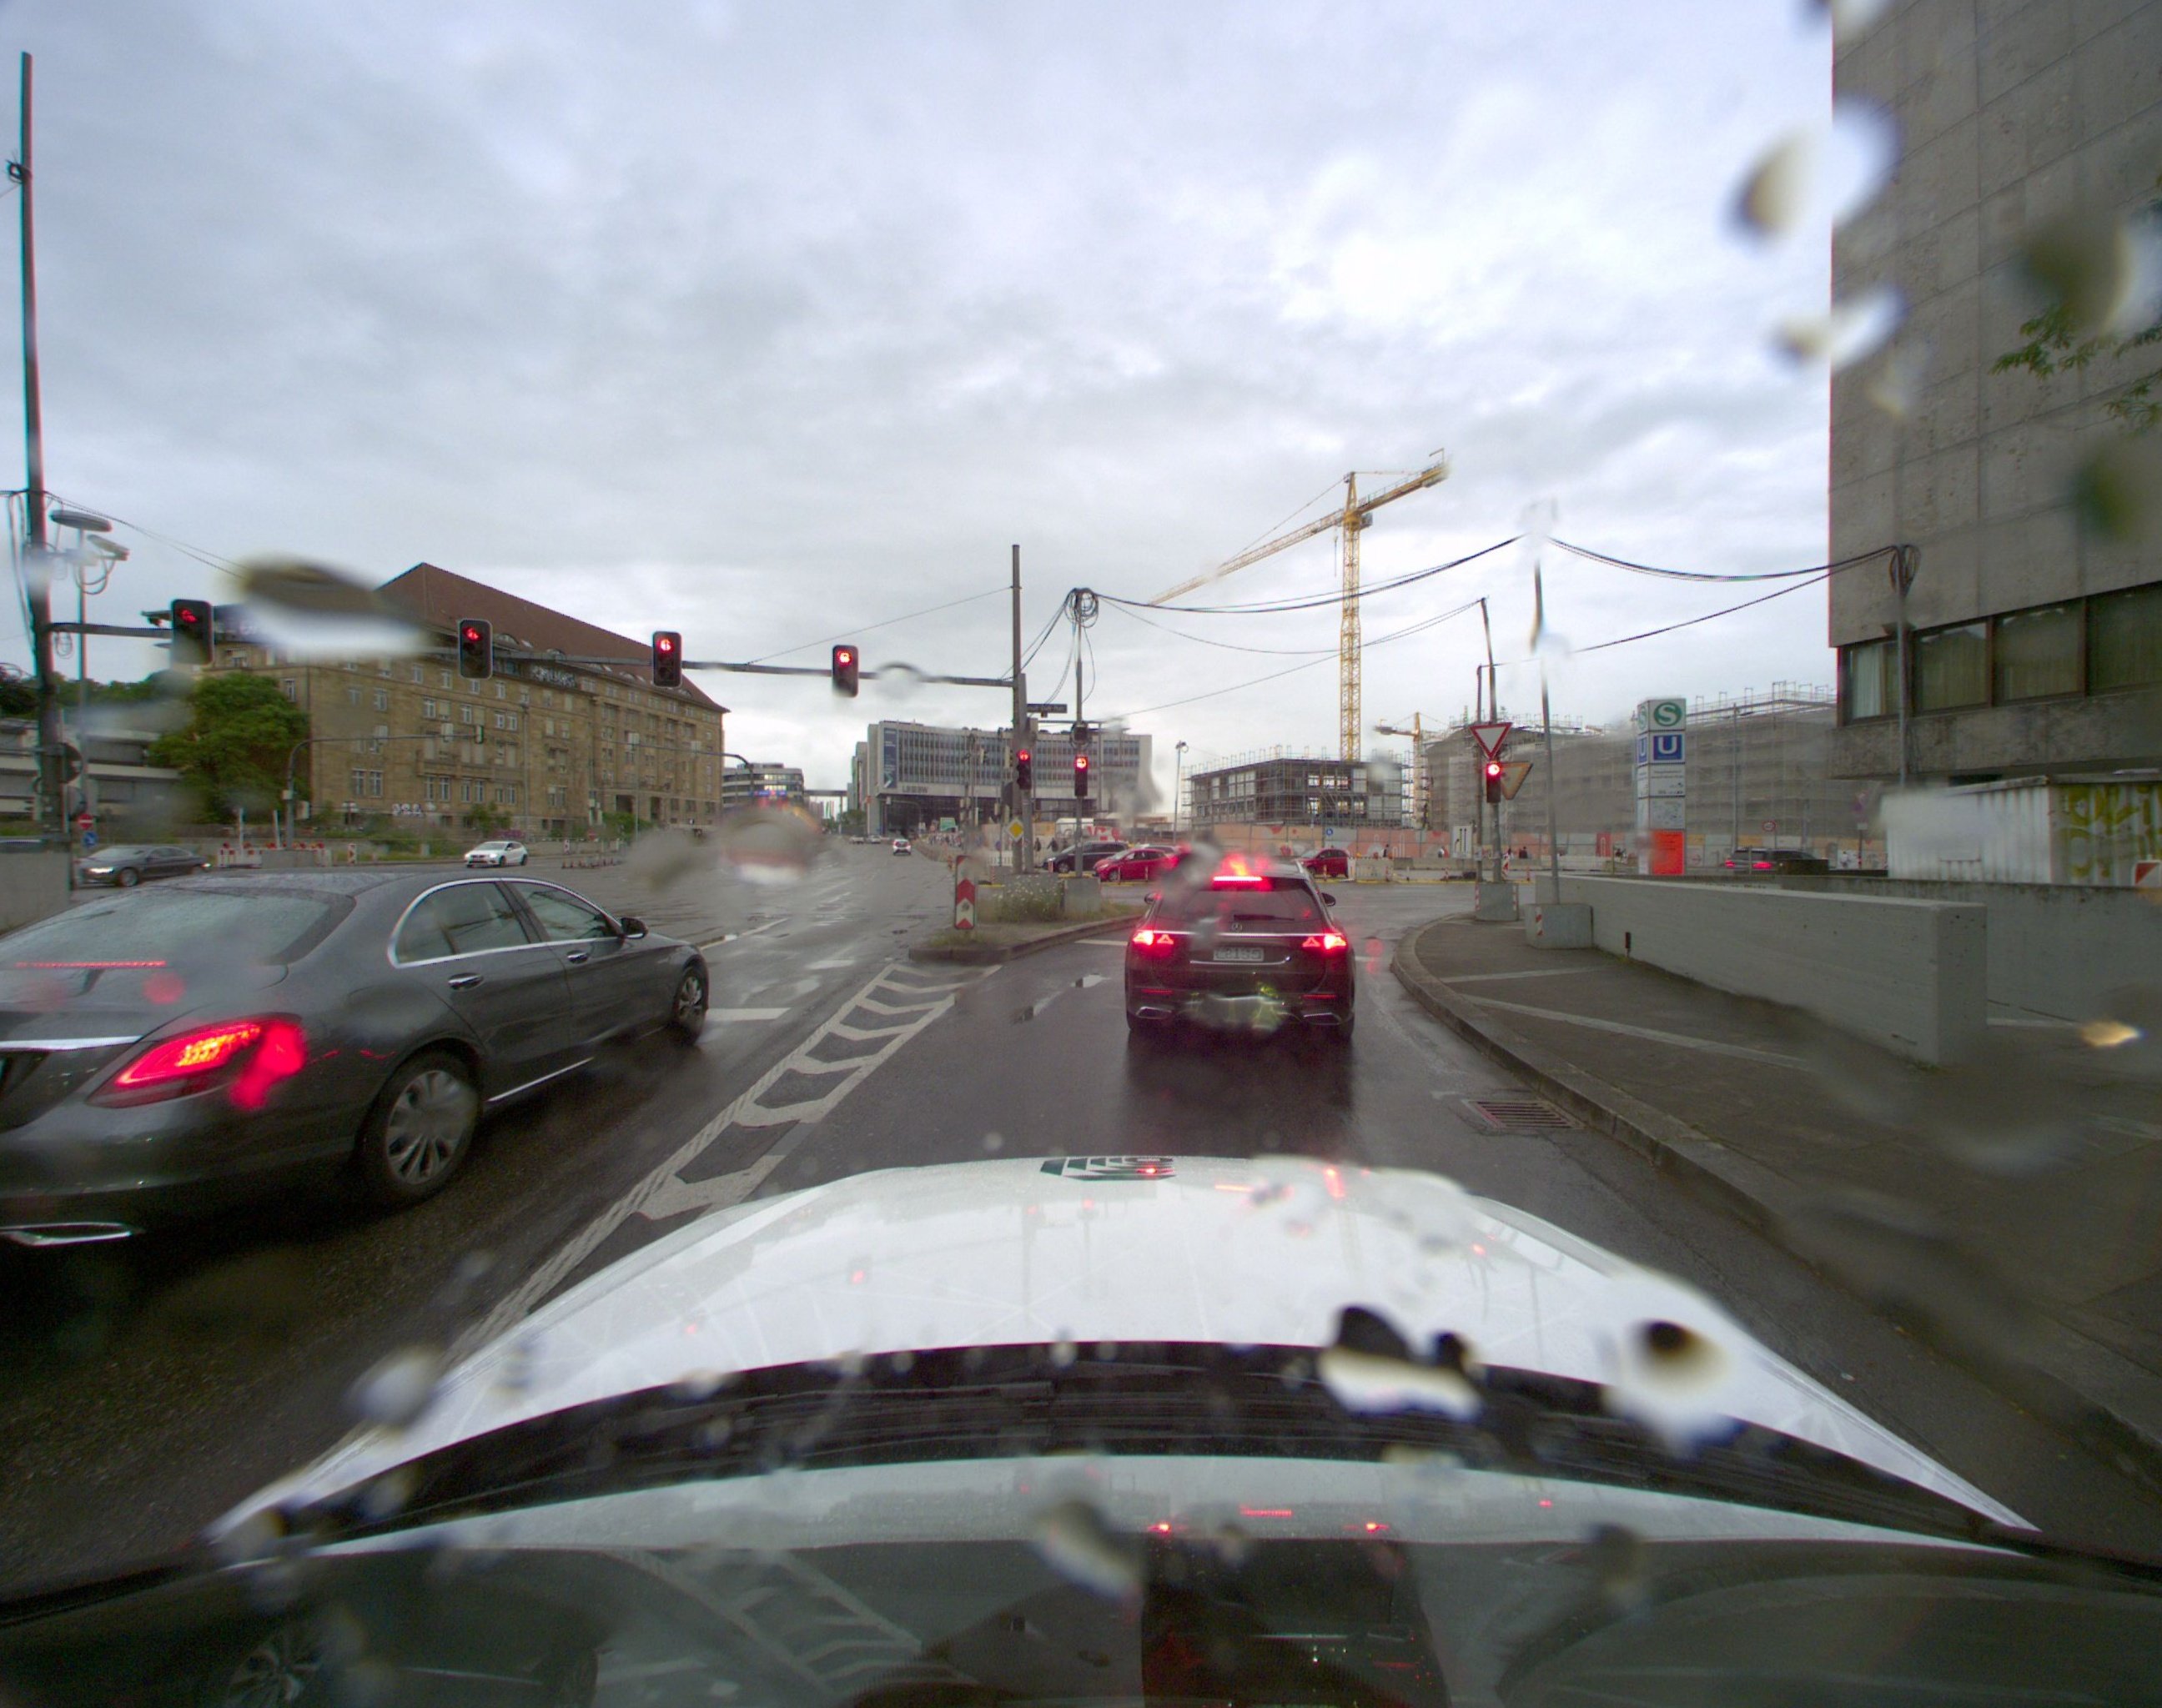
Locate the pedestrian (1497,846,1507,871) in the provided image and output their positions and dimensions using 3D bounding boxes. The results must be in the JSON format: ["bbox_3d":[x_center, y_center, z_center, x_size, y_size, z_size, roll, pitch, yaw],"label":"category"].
[{"bbox_3d":[32.266,0.348,62.432,0.574,1.898,0.361,1,-1,-10],"label":"pedestrian"}]

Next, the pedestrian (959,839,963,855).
[{"bbox_3d":[-14.219,-0.825,96.625,0.362,1.898,0.573,1,-1,-16],"label":"pedestrian"}]

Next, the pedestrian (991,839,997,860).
[{"bbox_3d":[-7.768,-0.394,72.579,0.362,1.898,0.572,1,-1,-20],"label":"pedestrian"}]

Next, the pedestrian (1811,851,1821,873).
[{"bbox_3d":[63.089,0.692,69.895,0.574,1.898,0.361,1,-1,-10],"label":"pedestrian"}]

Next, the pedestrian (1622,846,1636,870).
[{"bbox_3d":[43.759,0.284,65.011,0.798,1.898,0.563,1,-1,-13],"label":"pedestrian"}]

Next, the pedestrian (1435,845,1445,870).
[{"bbox_3d":[27.555,0.293,62.454,0.574,1.898,0.361,1,-1,-10],"label":"pedestrian"}]

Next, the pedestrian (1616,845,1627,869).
[{"bbox_3d":[42.206,0.249,63.592,0.574,1.898,0.361,1,-1,-10],"label":"pedestrian"}]

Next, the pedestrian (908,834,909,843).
[{"bbox_3d":[-38.104,-3.370,179.939,0.361,1.898,0.574,1,-1,-13],"label":"pedestrian"}]

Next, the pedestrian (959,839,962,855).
[{"bbox_3d":[-14.549,-0.804,98.352,0.362,1.898,0.573,1,-1,-16],"label":"pedestrian"}]

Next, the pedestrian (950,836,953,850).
[{"bbox_3d":[-17.810,-1.537,111.889,0.361,1.898,0.574,1,-1,-12],"label":"pedestrian"}]

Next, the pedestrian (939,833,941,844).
[{"bbox_3d":[-24.035,-2.642,138.941,0.362,1.898,0.573,1,-1,-16],"label":"pedestrian"}]

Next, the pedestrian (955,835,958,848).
[{"bbox_3d":[-17.606,-1.783,115.208,0.362,1.898,0.573,1,-1,-16],"label":"pedestrian"}]

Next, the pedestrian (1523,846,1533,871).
[{"bbox_3d":[33.543,0.346,61.137,0.574,1.898,0.361,1,-1,-10],"label":"pedestrian"}]

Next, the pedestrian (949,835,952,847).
[{"bbox_3d":[-20.224,-2.007,126.638,0.362,1.898,0.573,1,-1,-16],"label":"pedestrian"}]

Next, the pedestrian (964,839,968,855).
[{"bbox_3d":[-13.658,-0.816,96.744,0.362,1.898,0.573,1,-1,-16],"label":"pedestrian"}]

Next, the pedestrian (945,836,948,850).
[{"bbox_3d":[-18.726,-1.527,113.372,0.362,1.898,0.573,1,-1,-16],"label":"pedestrian"}]

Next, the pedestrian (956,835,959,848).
[{"bbox_3d":[-18.324,-1.896,120.573,0.362,1.898,0.573,1,-1,-16],"label":"pedestrian"}]

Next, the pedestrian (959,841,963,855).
[{"bbox_3d":[-16.311,-0.790,110.528,0.362,1.898,0.573,1,-1,-16],"label":"pedestrian"}]

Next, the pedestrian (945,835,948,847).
[{"bbox_3d":[-20.869,-2.053,126.418,0.362,1.898,0.573,1,-1,-16],"label":"pedestrian"}]

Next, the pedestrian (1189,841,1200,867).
[{"bbox_3d":[8.369,-0.023,60.012,0.656,1.901,0.629,1,-1,-12],"label":"pedestrian"}]

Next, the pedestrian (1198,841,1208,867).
[{"bbox_3d":[8.895,0.000,59.396,0.574,1.898,0.361,1,-1,-10],"label":"pedestrian"}]

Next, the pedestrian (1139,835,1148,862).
[{"bbox_3d":[4.365,-0.363,56.642,0.573,1.898,0.362,1,-1,-1],"label":"pedestrian"}]

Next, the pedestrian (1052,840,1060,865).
[{"bbox_3d":[-1.946,-0.097,63.289,0.570,1.898,0.364,0,-1,15],"label":"pedestrian"}]

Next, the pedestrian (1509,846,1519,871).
[{"bbox_3d":[32.720,0.341,61.541,0.574,1.898,0.361,1,-1,-10],"label":"pedestrian"}]

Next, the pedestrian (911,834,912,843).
[{"bbox_3d":[-37.499,-3.358,180.216,0.361,1.898,0.574,1,-1,-13],"label":"pedestrian"}]

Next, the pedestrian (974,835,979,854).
[{"bbox_3d":[-10.594,-0.981,82.664,0.362,1.898,0.573,1,-1,-16],"label":"pedestrian"}]

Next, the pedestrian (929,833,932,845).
[{"bbox_3d":[-25.564,-2.536,138.346,0.362,1.898,0.573,1,-1,-16],"label":"pedestrian"}]

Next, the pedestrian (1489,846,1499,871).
[{"bbox_3d":[32.077,0.356,63.227,0.574,1.898,0.361,1,-1,-10],"label":"pedestrian"}]

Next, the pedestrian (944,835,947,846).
[{"bbox_3d":[-22.672,-2.230,136.529,0.362,1.898,0.573,1,-1,-16],"label":"pedestrian"}]

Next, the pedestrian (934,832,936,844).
[{"bbox_3d":[-24.832,-2.718,138.652,0.362,1.898,0.573,1,-1,-16],"label":"pedestrian"}]

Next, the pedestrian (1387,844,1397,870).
[{"bbox_3d":[23.101,0.225,60.520,0.574,1.898,0.361,1,-1,-10],"label":"pedestrian"}]
